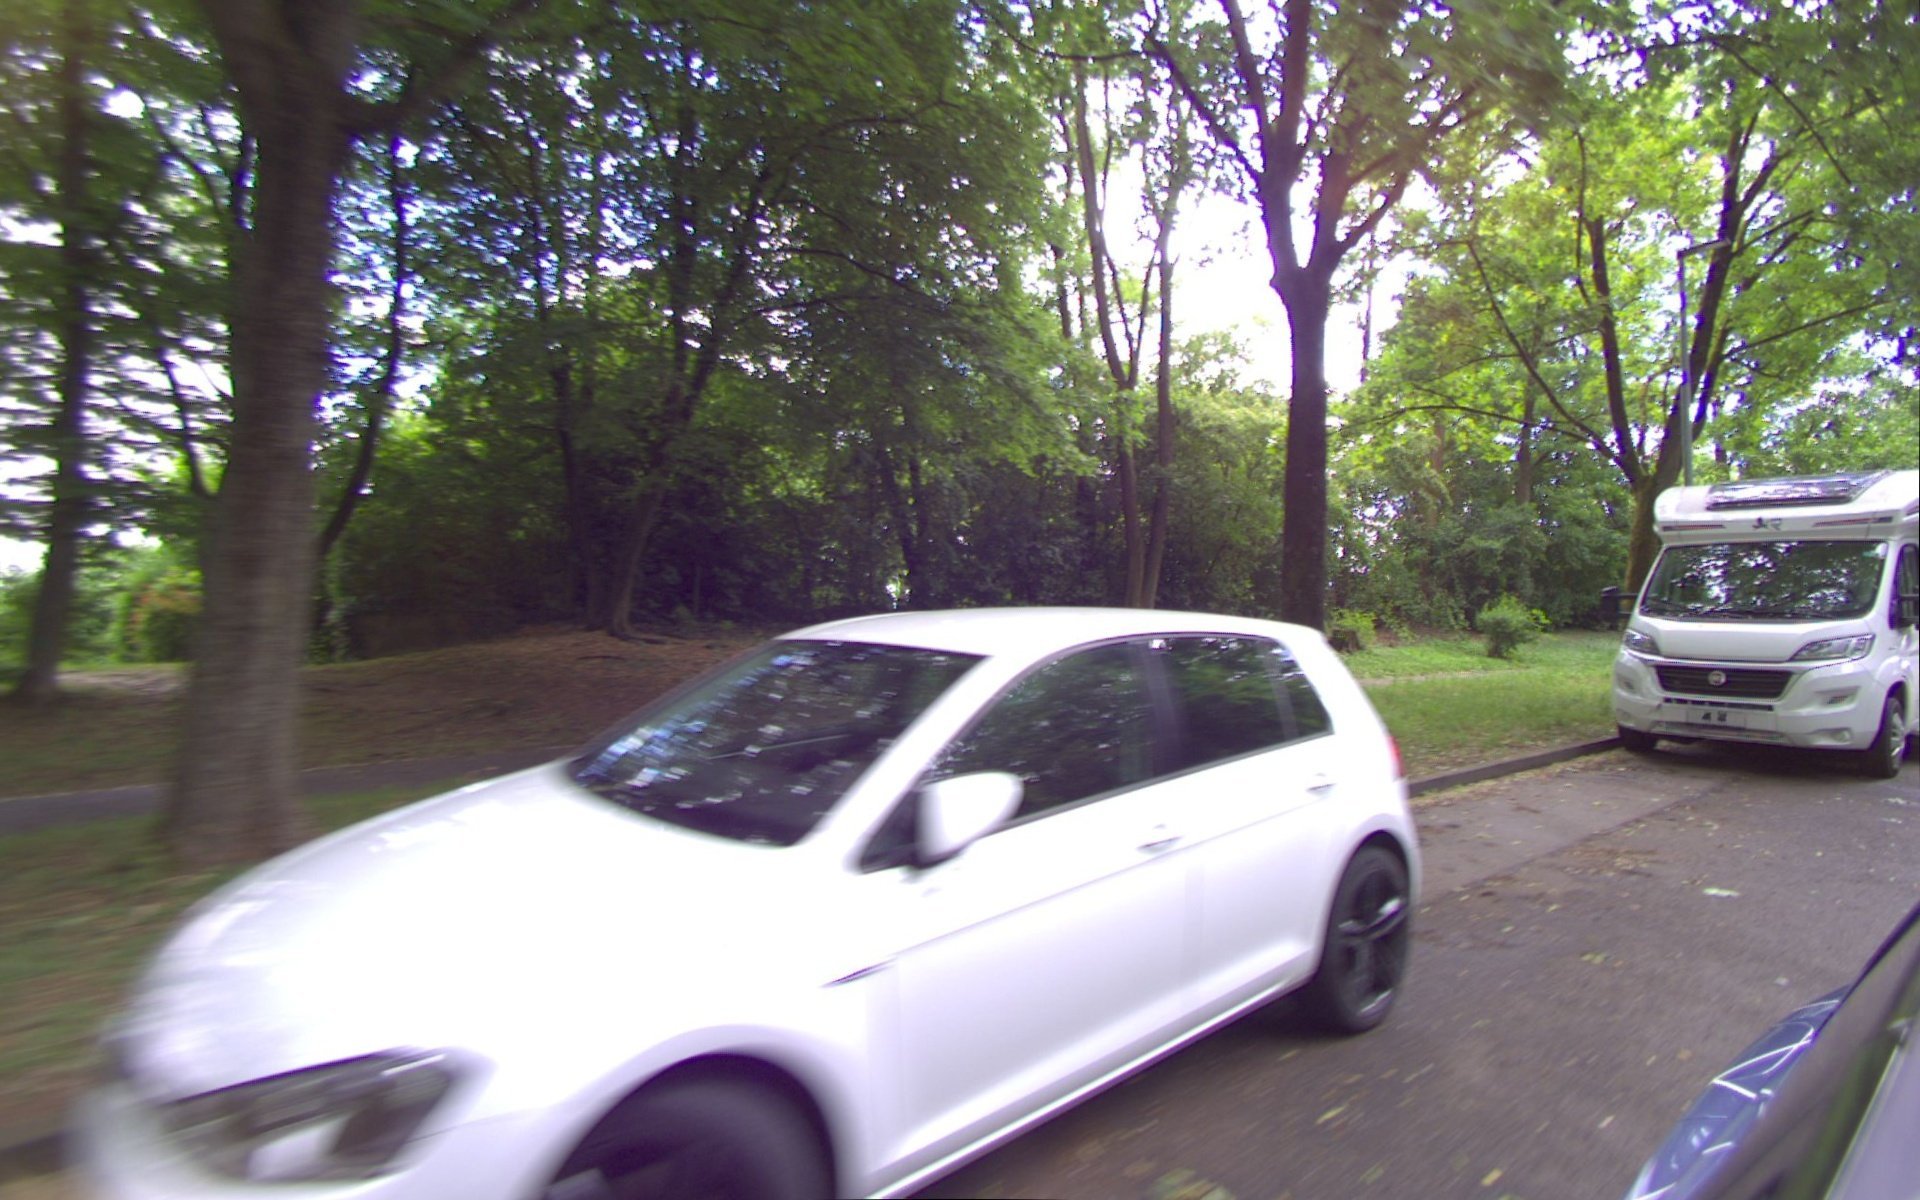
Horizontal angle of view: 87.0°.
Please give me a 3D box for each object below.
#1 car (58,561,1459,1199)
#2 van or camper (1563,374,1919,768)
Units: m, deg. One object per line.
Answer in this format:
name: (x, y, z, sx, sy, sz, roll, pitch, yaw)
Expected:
car: (-0.133, 0.699, 3.189, 4.036, 1.501, 1.691, -1, -1, -42)
van or camper: (9.474, -0.245, 10.846, 7.253, 3.018, 2.432, -1, -1, -36)
